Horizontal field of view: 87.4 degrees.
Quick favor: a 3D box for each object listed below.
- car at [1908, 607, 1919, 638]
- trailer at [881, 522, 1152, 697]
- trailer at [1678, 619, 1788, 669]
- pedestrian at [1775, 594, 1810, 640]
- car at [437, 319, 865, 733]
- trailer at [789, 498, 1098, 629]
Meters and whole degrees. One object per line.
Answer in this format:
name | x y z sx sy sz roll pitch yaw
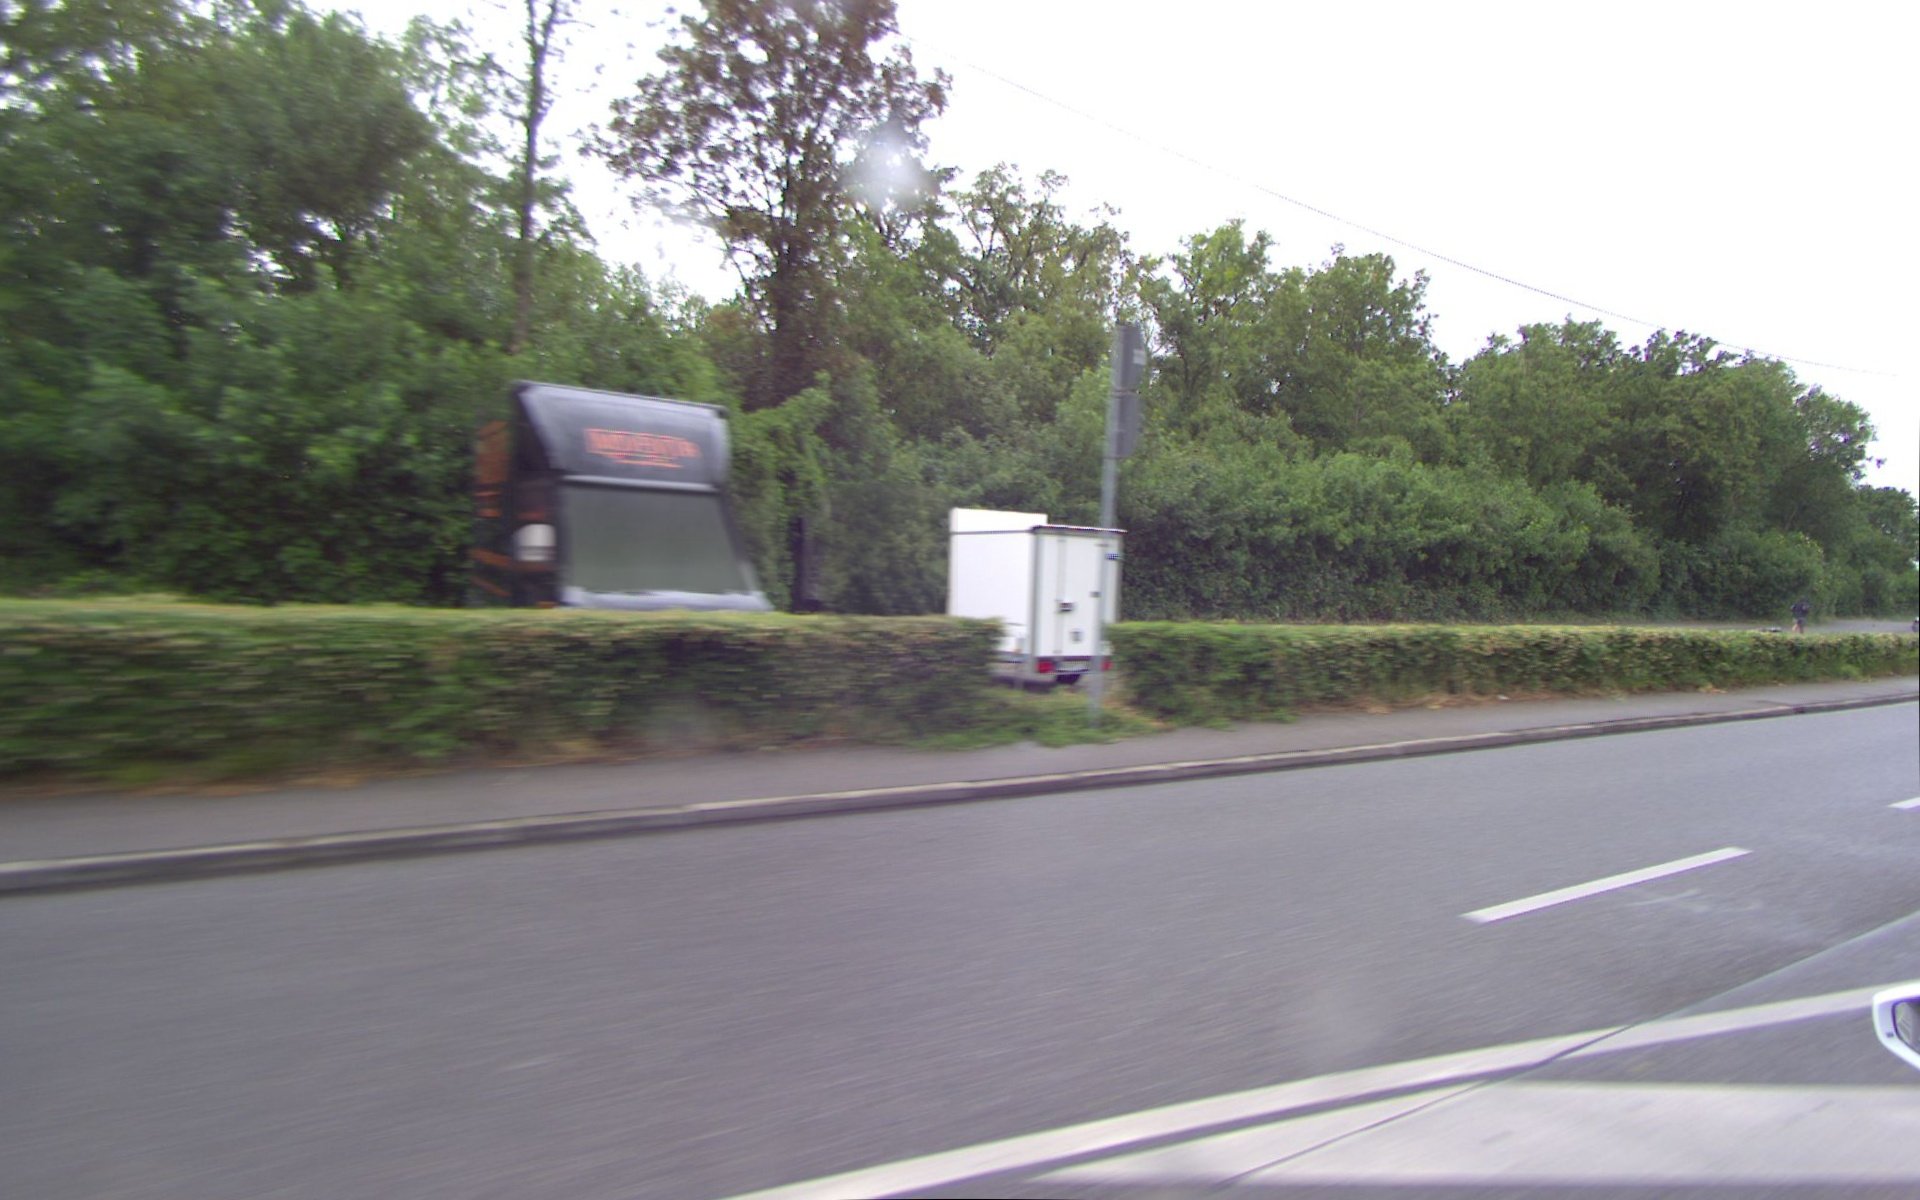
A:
car | 50.442 1.230 50.107 4.527 1.526 1.988 4 2 44
trailer | 0.628 0.079 14.107 1.852 2.080 3.966 1 1 -31
trailer | 18.485 1.019 24.045 1.322 1.048 1.787 1 2 -38
pedestrian | 33.843 0.703 40.831 1.125 1.822 0.811 1 2 -37
car | -3.786 -0.638 11.030 2.724 3.155 6.232 2 1 -34
trailer | -0.235 -0.790 25.920 7.897 2.912 2.459 1 1 -35
